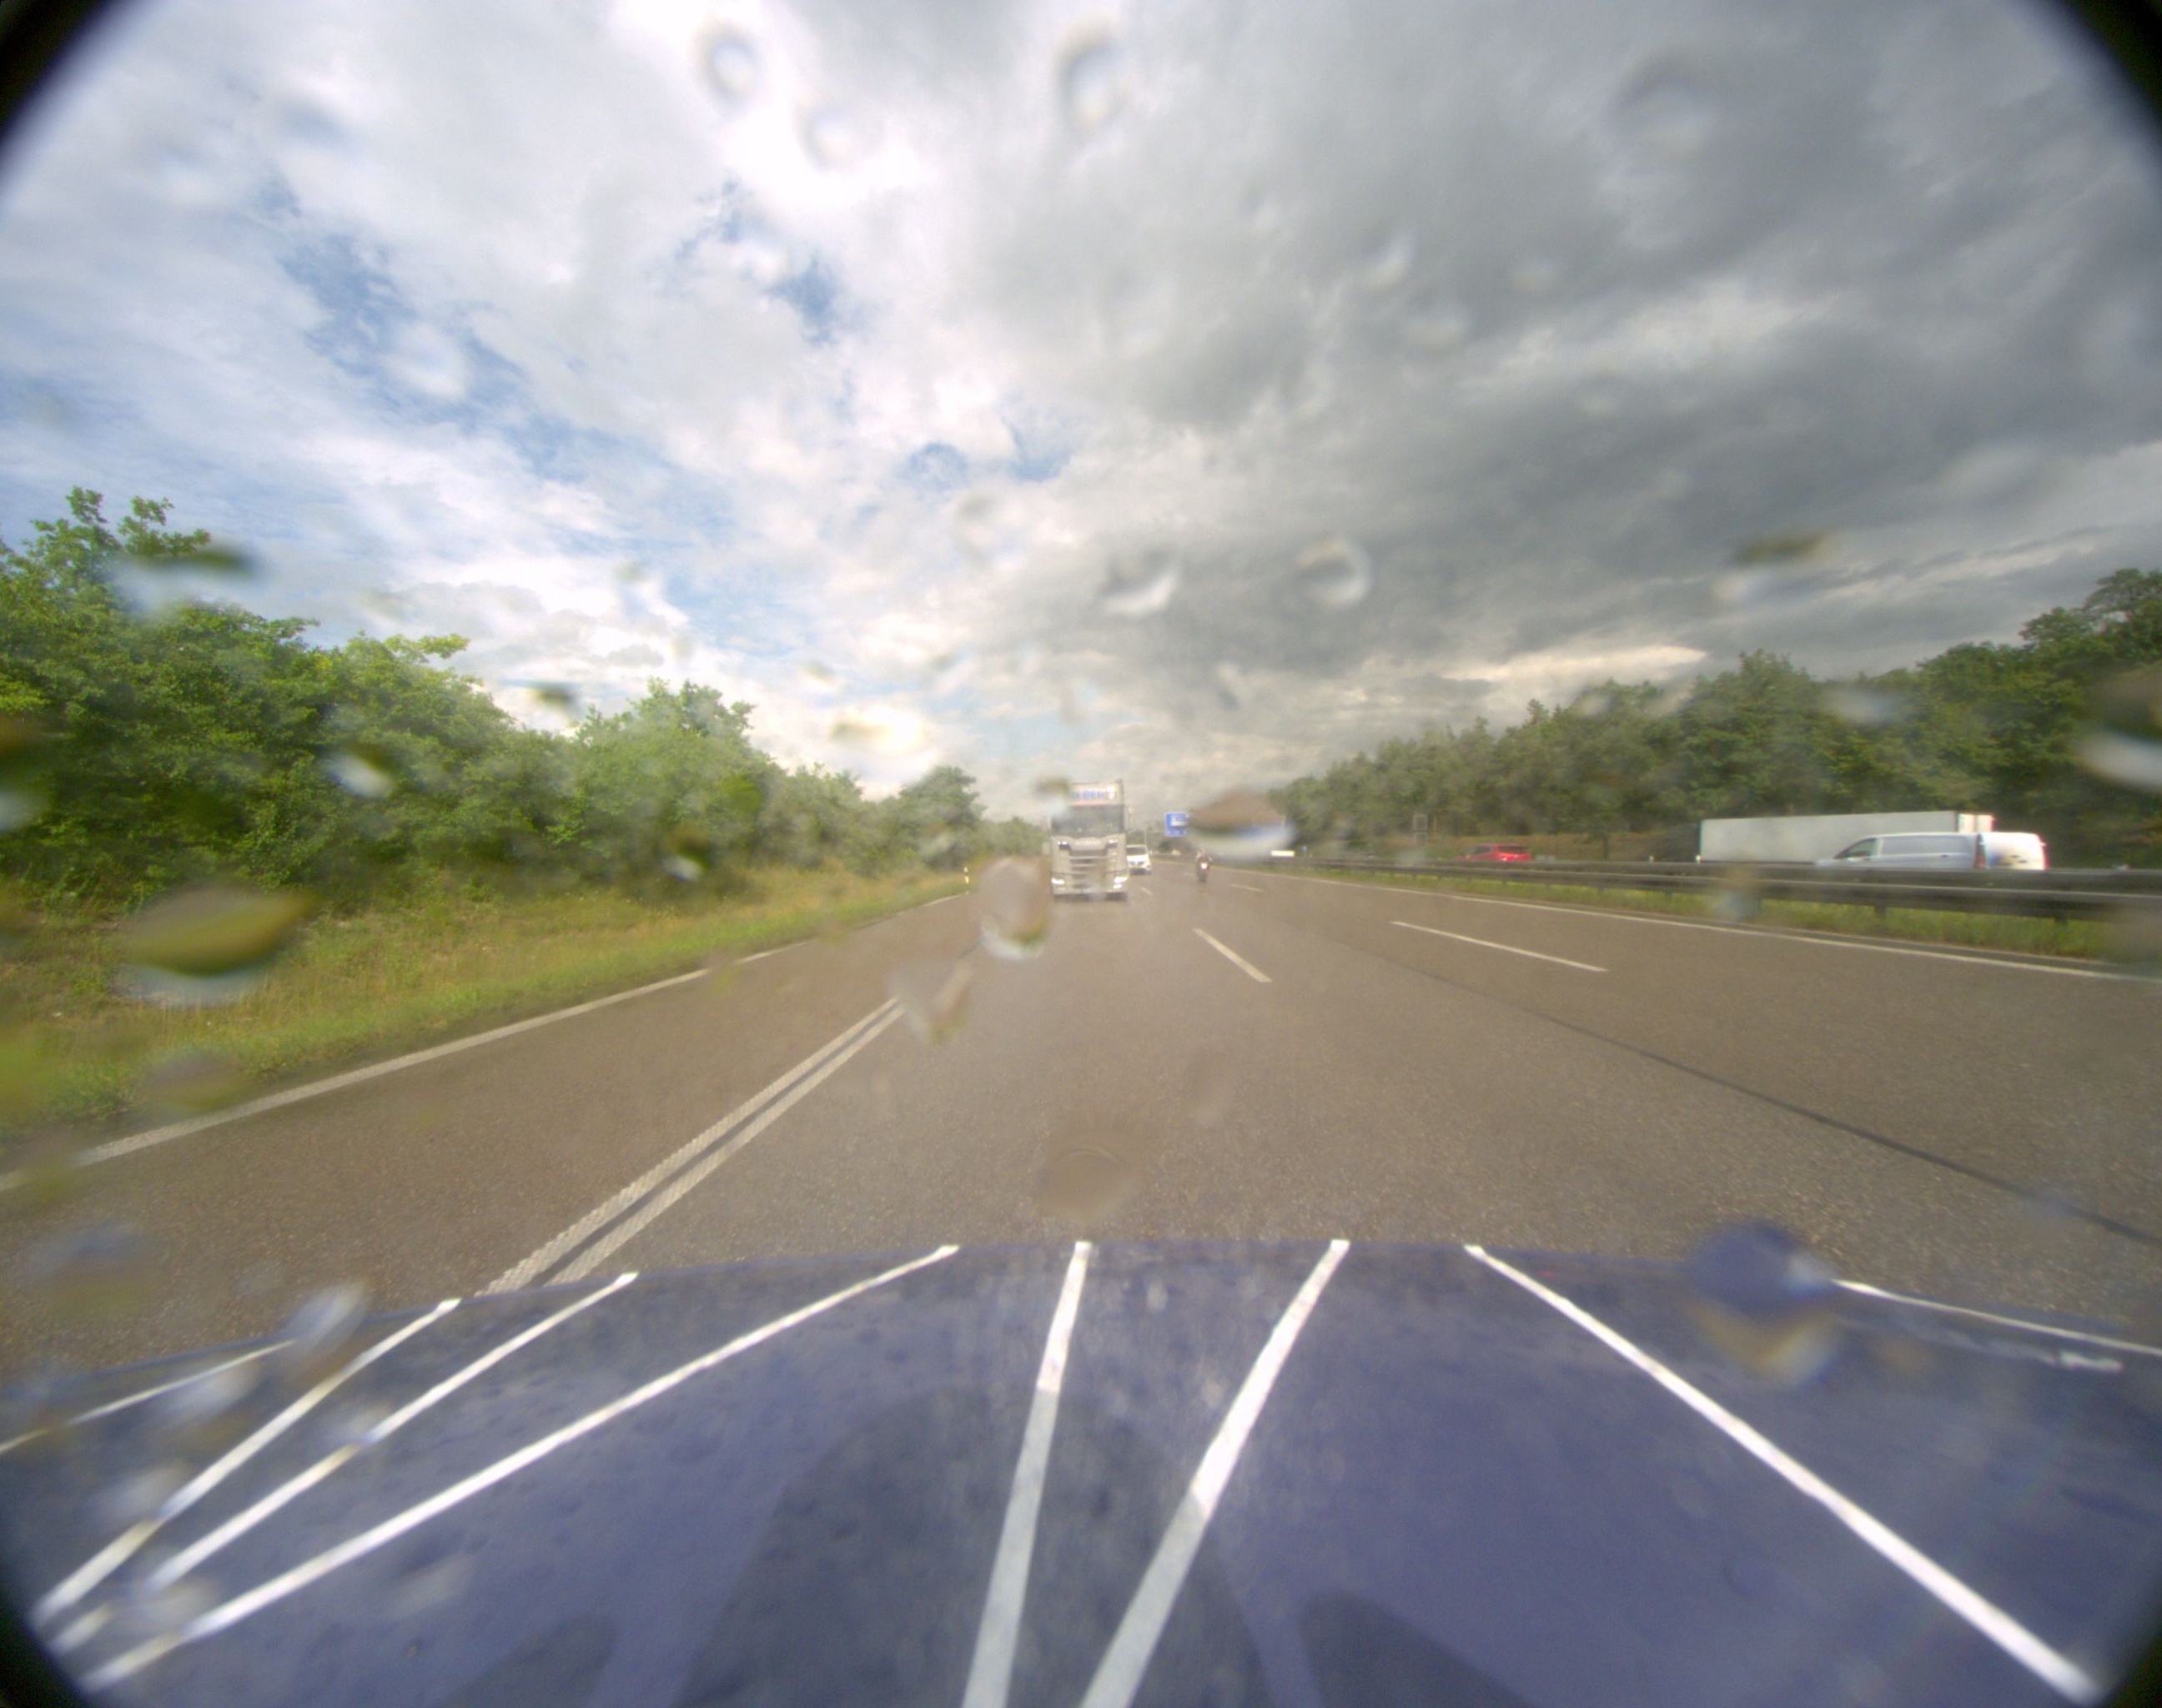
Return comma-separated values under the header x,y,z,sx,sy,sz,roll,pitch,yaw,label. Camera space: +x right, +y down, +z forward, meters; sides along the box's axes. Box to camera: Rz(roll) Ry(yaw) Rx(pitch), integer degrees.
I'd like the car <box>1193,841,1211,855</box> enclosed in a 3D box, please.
x,y,z,sx,sy,sz,roll,pitch,yaw,label
27.823,-1.437,175.185,2.951,3.092,7.343,-2,1,1,car

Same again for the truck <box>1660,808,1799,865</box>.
x,y,z,sx,sy,sz,roll,pitch,yaw,label
45.938,-1.180,54.146,3.218,3.683,6.908,-3,1,-13,truck

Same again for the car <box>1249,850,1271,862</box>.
x,y,z,sx,sy,sz,roll,pitch,yaw,label
22.950,0.263,97.784,1.835,1.384,4.433,-2,1,1,car

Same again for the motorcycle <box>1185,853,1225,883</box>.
x,y,z,sx,sy,sz,roll,pitch,yaw,label
5.610,0.614,34.681,1.188,1.219,3.193,-2,1,-2,motorcycle

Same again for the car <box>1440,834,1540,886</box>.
x,y,z,sx,sy,sz,roll,pitch,yaw,label
17.783,0.217,33.326,1.835,2.033,4.779,-2,1,1,car

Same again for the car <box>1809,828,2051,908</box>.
x,y,z,sx,sy,sz,roll,pitch,yaw,label
24.599,0.326,22.346,1.835,2.033,4.779,-2,1,1,car

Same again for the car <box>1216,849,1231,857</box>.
x,y,z,sx,sy,sz,roll,pitch,yaw,label
27.424,-0.139,146.552,1.978,1.384,5.158,-2,1,1,car

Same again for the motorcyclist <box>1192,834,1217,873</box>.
x,y,z,sx,sy,sz,roll,pitch,yaw,label
5.631,-0.022,34.678,0.883,1.696,1.000,-2,1,-1,motorcyclist

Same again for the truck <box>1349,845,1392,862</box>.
x,y,z,sx,sy,sz,roll,pitch,yaw,label
22.562,-0.053,59.411,1.893,1.187,3.999,-2,1,1,truck

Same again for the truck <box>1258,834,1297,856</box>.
x,y,z,sx,sy,sz,roll,pitch,yaw,label
18.433,-0.840,71.522,2.262,1.884,5.446,-2,1,1,truck

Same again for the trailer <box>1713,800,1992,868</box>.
x,y,z,sx,sy,sz,roll,pitch,yaw,label
47.395,-1.127,47.728,3.215,3.717,12.555,-1,1,-12,trailer

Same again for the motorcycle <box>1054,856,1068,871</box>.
x,y,z,sx,sy,sz,roll,pitch,yaw,label
-1.750,0.841,66.984,1.188,1.142,3.193,-2,1,-2,motorcycle

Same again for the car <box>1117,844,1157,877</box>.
x,y,z,sx,sy,sz,roll,pitch,yaw,label
3.712,0.369,51.349,2.350,2.033,5.142,-2,1,1,car

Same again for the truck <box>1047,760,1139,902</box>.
x,y,z,sx,sy,sz,roll,pitch,yaw,label
0.274,-0.764,26.745,2.650,4.250,6.882,-2,1,-2,truck

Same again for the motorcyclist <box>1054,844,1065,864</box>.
x,y,z,sx,sy,sz,roll,pitch,yaw,label
-1.841,-0.008,66.644,0.883,1.696,1.000,-2,1,-1,motorcyclist
